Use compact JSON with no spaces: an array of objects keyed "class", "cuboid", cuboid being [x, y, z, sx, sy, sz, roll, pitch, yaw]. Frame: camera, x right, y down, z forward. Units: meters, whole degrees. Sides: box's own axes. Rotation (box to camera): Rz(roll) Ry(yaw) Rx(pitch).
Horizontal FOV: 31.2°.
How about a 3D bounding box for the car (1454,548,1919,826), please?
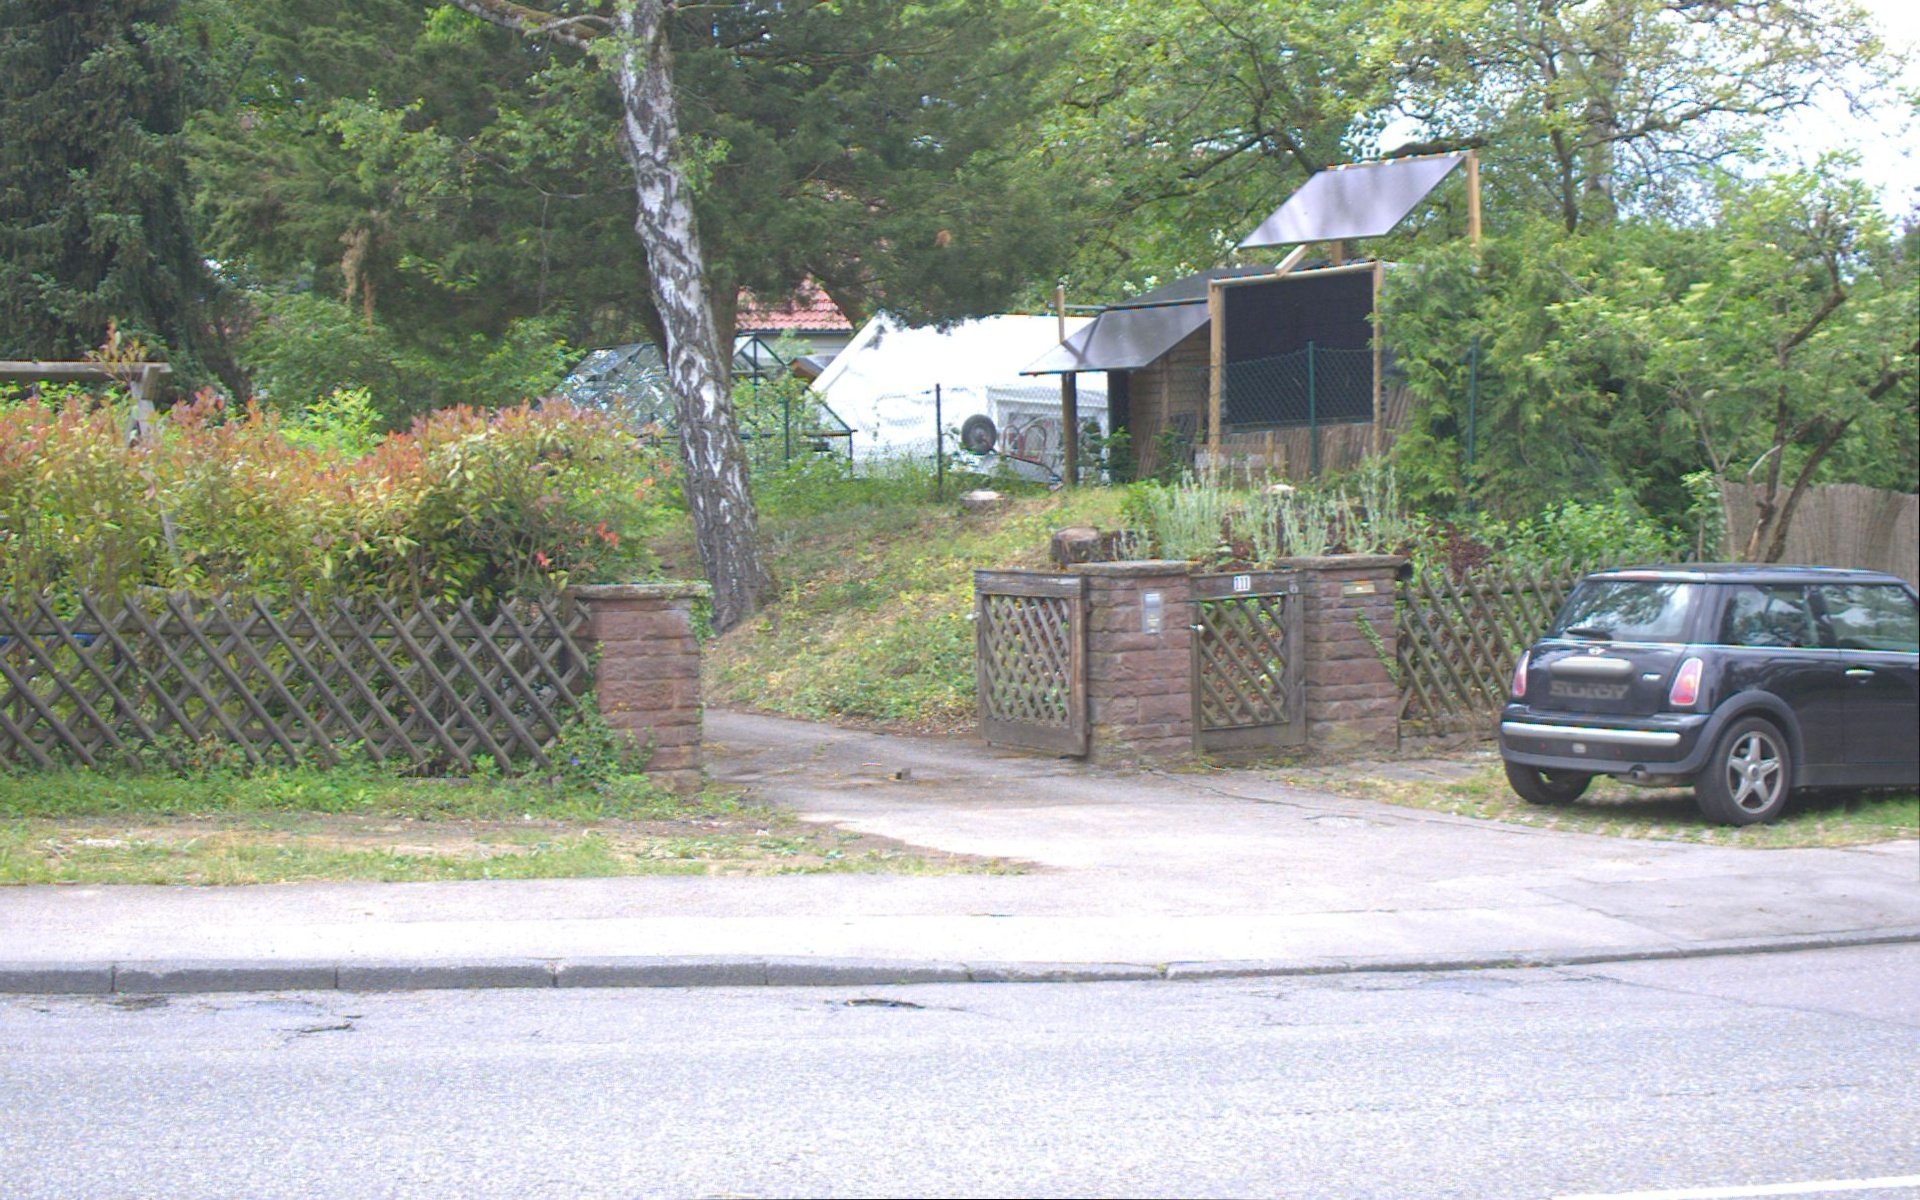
[{"class":"car","cuboid":[4.751,0.444,19.786,3.532,1.444,1.703,0,1,-34]}]
